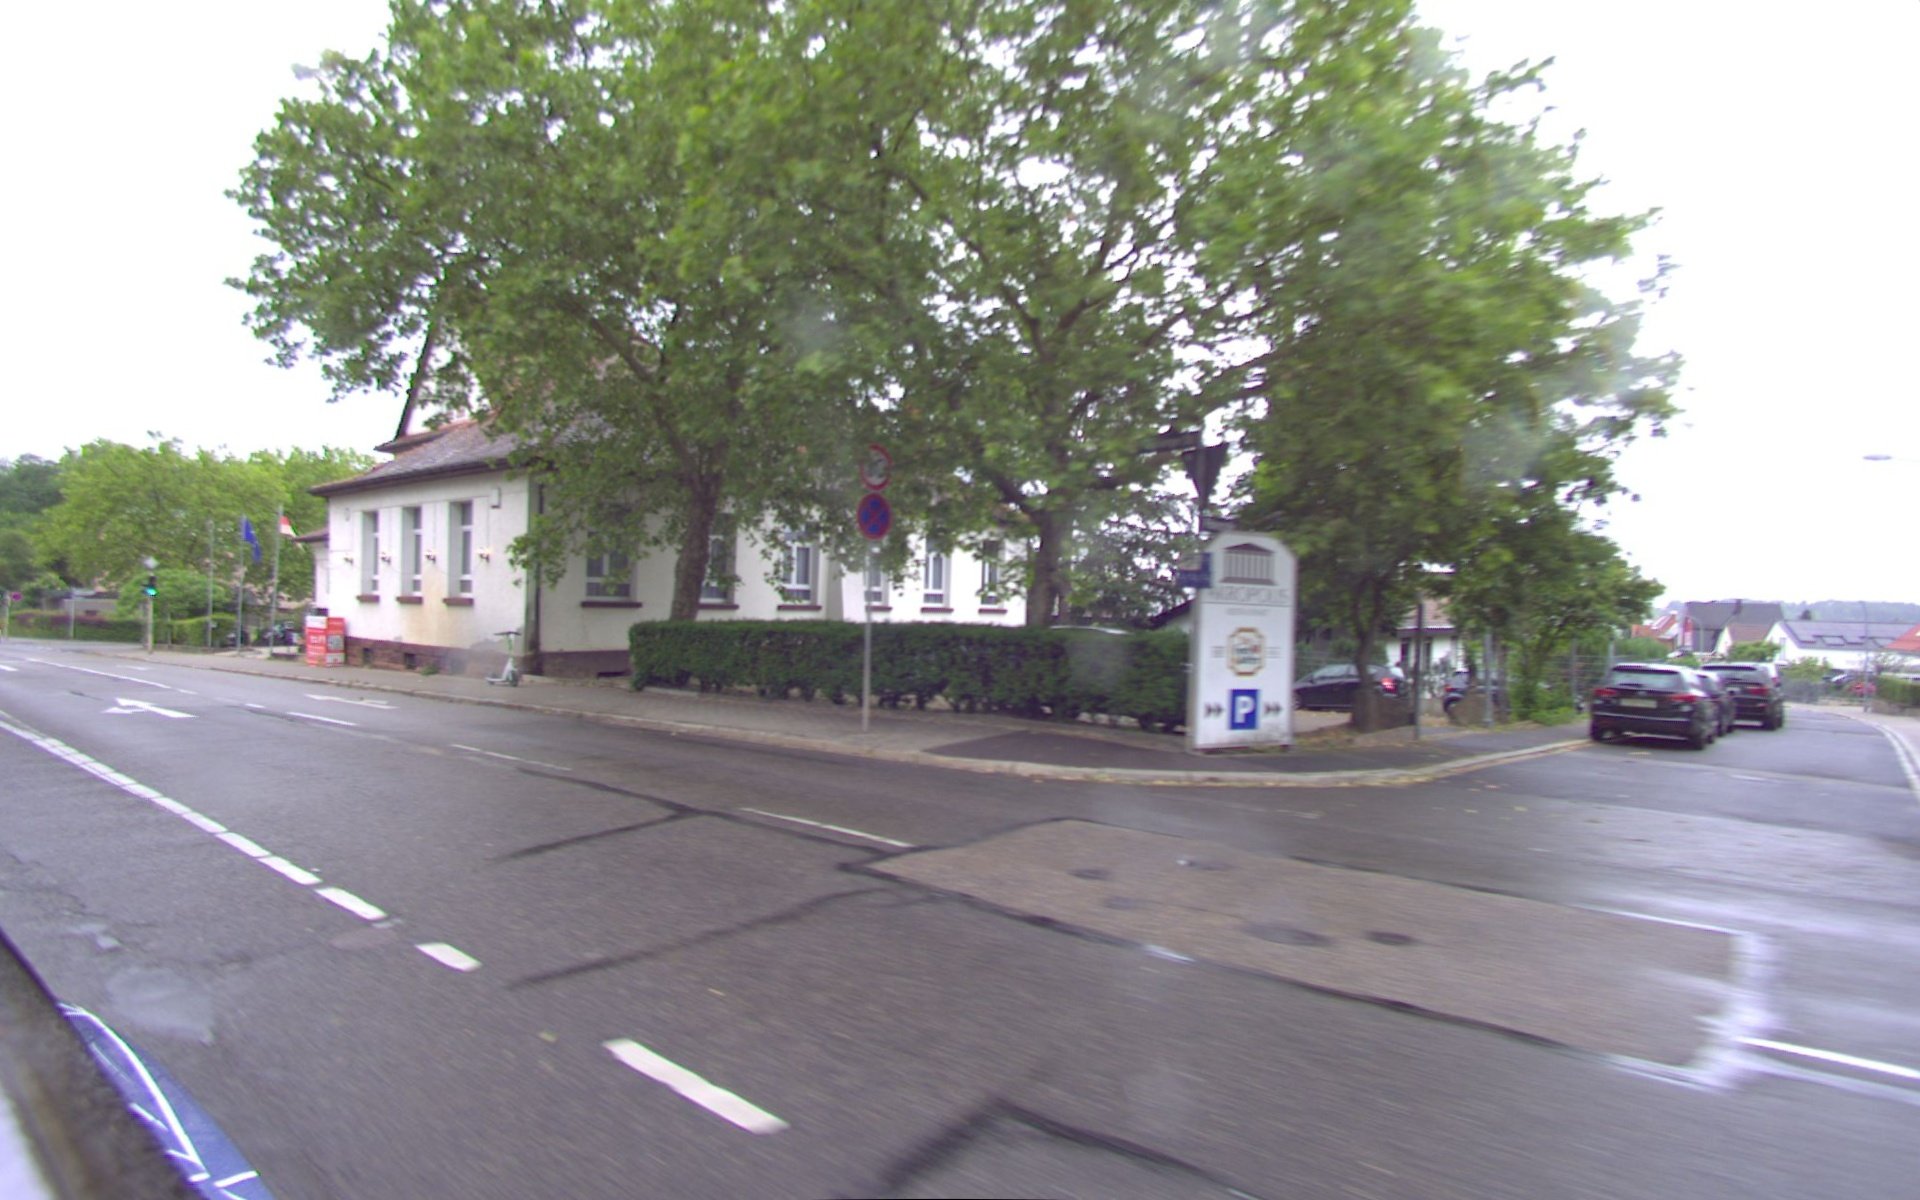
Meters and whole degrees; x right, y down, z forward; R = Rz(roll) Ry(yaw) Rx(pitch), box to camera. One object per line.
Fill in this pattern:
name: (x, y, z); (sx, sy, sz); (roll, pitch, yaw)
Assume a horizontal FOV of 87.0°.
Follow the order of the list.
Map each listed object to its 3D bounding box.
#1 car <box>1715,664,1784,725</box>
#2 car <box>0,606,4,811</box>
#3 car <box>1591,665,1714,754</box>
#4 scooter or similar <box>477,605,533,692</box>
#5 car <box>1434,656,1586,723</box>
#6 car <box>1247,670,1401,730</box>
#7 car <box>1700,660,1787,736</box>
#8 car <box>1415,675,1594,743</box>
car: (27.340, 3.227, 35.003); (1.737, 1.943, 3.946); (-1, -4, 40)
car: (-9.763, 0.898, 8.428); (4.140, 1.608, 1.975); (-2, -1, 37)
car: (13.240, 1.994, 19.258); (1.735, 1.453, 3.949); (-1, -3, 37)
scooter or similar: (-9.609, 0.999, 21.363); (1.510, 1.788, 0.397); (0, -1, 37)
car: (17.709, 2.850, 32.660); (3.998, 1.911, 1.973); (-1, -5, 41)
car: (11.033, 2.990, 30.789); (3.996, 1.597, 1.974); (-1, -4, 39)
car: (21.443, 2.651, 27.644); (1.737, 1.878, 3.946); (-1, -5, 40)
car: (14.795, 2.897, 27.600); (3.996, 1.597, 1.974); (-1, -4, 39)
